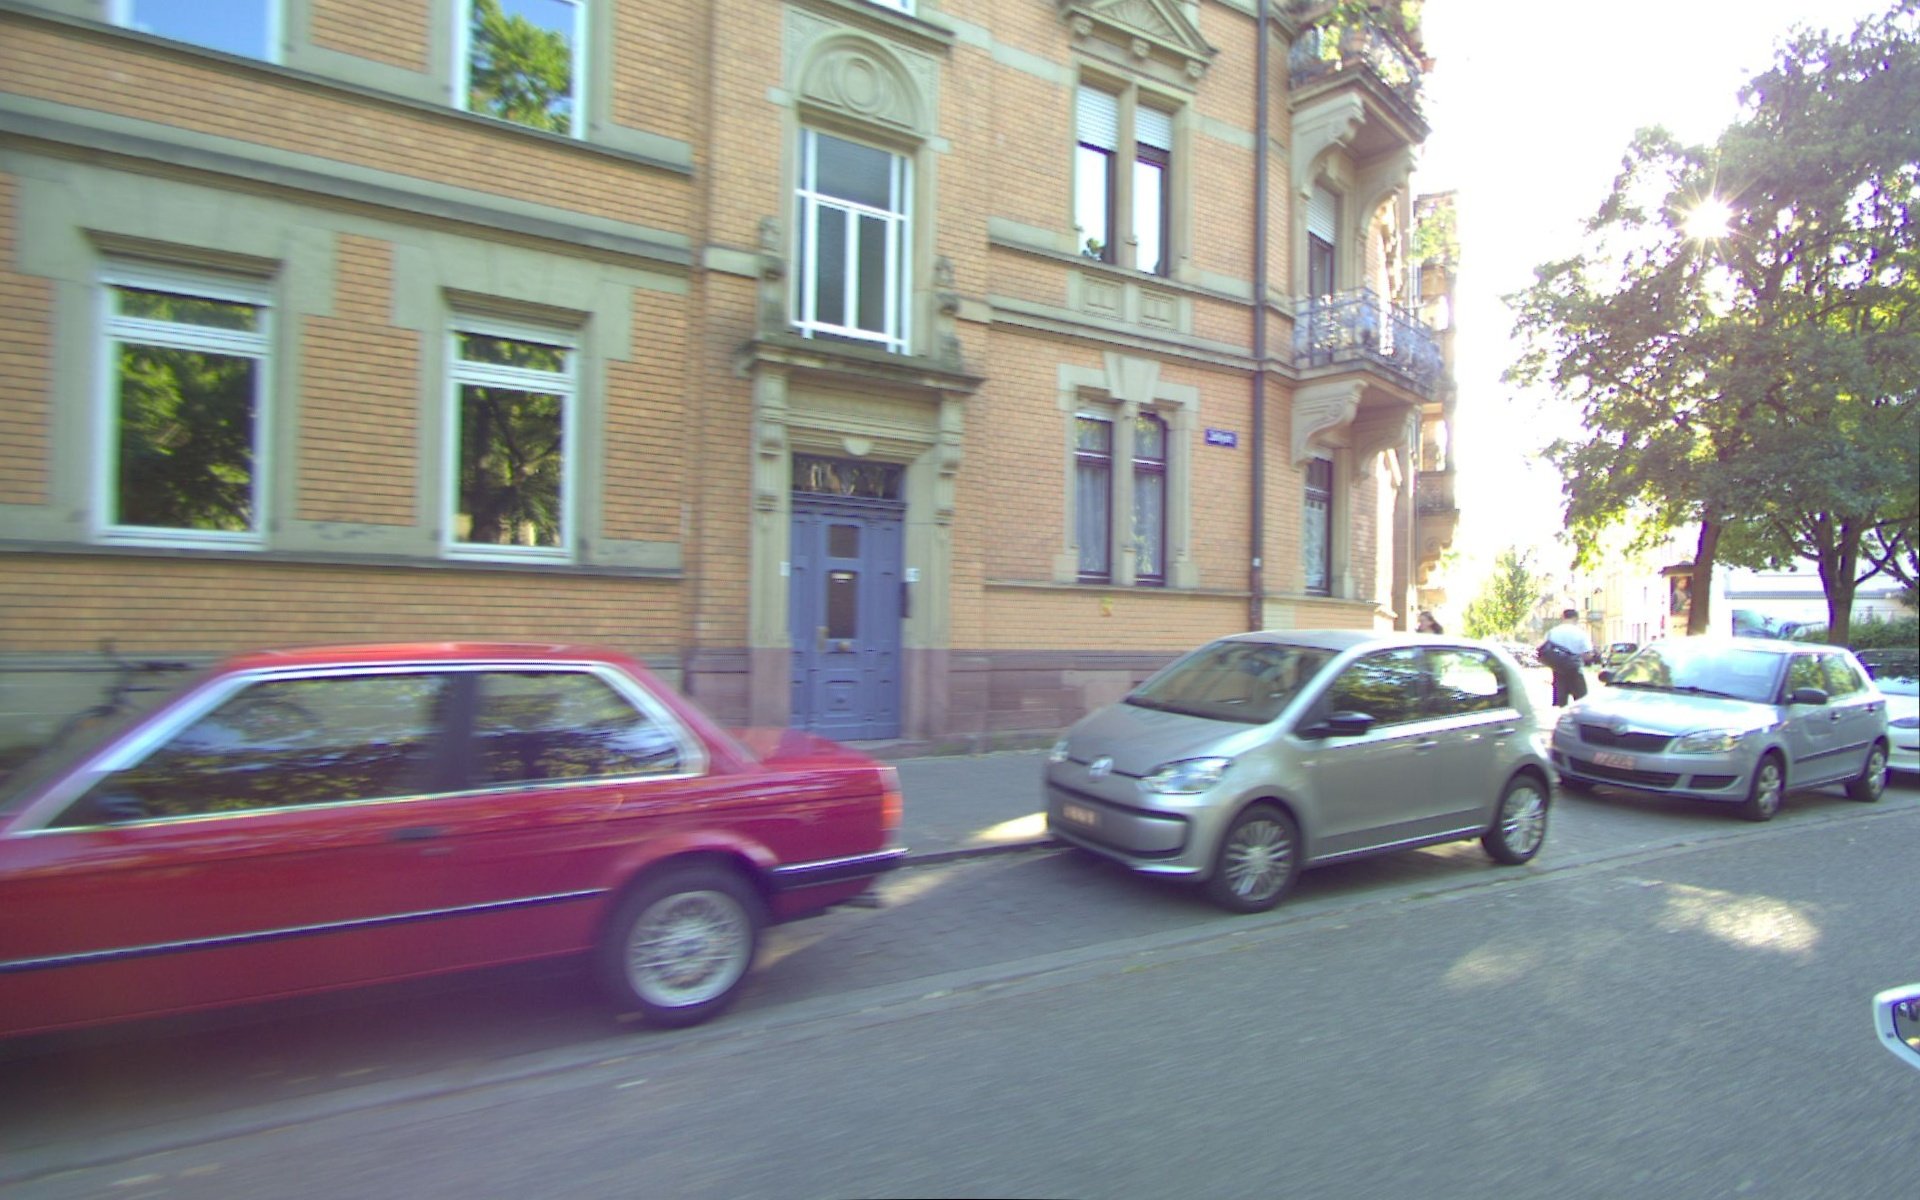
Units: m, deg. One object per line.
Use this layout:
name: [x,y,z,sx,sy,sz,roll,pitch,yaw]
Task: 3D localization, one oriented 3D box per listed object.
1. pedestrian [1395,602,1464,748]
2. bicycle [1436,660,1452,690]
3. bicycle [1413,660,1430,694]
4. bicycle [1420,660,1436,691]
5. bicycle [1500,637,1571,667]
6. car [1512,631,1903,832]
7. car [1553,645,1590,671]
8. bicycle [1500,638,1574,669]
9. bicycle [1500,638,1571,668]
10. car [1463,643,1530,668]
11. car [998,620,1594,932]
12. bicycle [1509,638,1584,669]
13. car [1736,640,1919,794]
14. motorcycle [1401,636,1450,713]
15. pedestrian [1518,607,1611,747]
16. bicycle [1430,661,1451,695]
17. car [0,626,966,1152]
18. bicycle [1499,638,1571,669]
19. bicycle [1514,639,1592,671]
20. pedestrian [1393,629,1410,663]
pedestrian: [5.914,0.915,12.642,0.664,1.741,0.720,2,0,33]
bicycle: [12.721,1.952,26.410,0.362,0.742,1.509,0,-2,24]
bicycle: [10.883,1.805,23.704,0.362,0.742,1.509,0,-2,24]
bicycle: [12.094,1.930,25.956,0.362,0.742,1.509,0,-2,24]
bicycle: [31.821,2.885,55.601,3.319,1.464,0.880,2,-1,30]
car: [7.146,1.089,9.528,3.838,1.495,1.675,2,0,-32]
car: [44.630,4.206,73.402,1.963,1.808,3.996,-1,-3,27]
bicycle: [30.519,2.834,53.187,3.319,1.464,0.880,2,-1,30]
bicycle: [31.358,2.867,54.804,3.319,1.464,0.880,2,-1,30]
car: [35.963,3.691,67.325,3.929,1.579,1.742,-1,-2,30]
car: [2.253,0.927,6.591,3.664,1.495,1.676,2,0,-29]
bicycle: [30.370,2.743,52.069,3.319,1.464,0.880,0,-2,29]
car: [11.332,1.277,11.911,4.216,1.495,1.769,2,0,-28]
motorcycle: [8.943,1.394,19.314,0.795,1.371,1.897,-1,-2,25]
pedestrian: [7.862,0.977,13.061,0.902,1.741,0.669,2,0,-33]
bicycle: [11.287,1.810,23.622,0.407,0.742,1.509,0,-2,24]
car: [-2.253,0.850,4.016,4.237,1.402,1.756,2,0,-29]
bicycle: [30.912,2.850,54.063,3.319,1.464,0.880,2,-1,30]
bicycle: [29.375,2.706,49.847,3.319,1.464,0.880,0,-2,29]
pedestrian: [25.380,2.633,57.678,0.836,1.899,0.890,0,-2,27]
